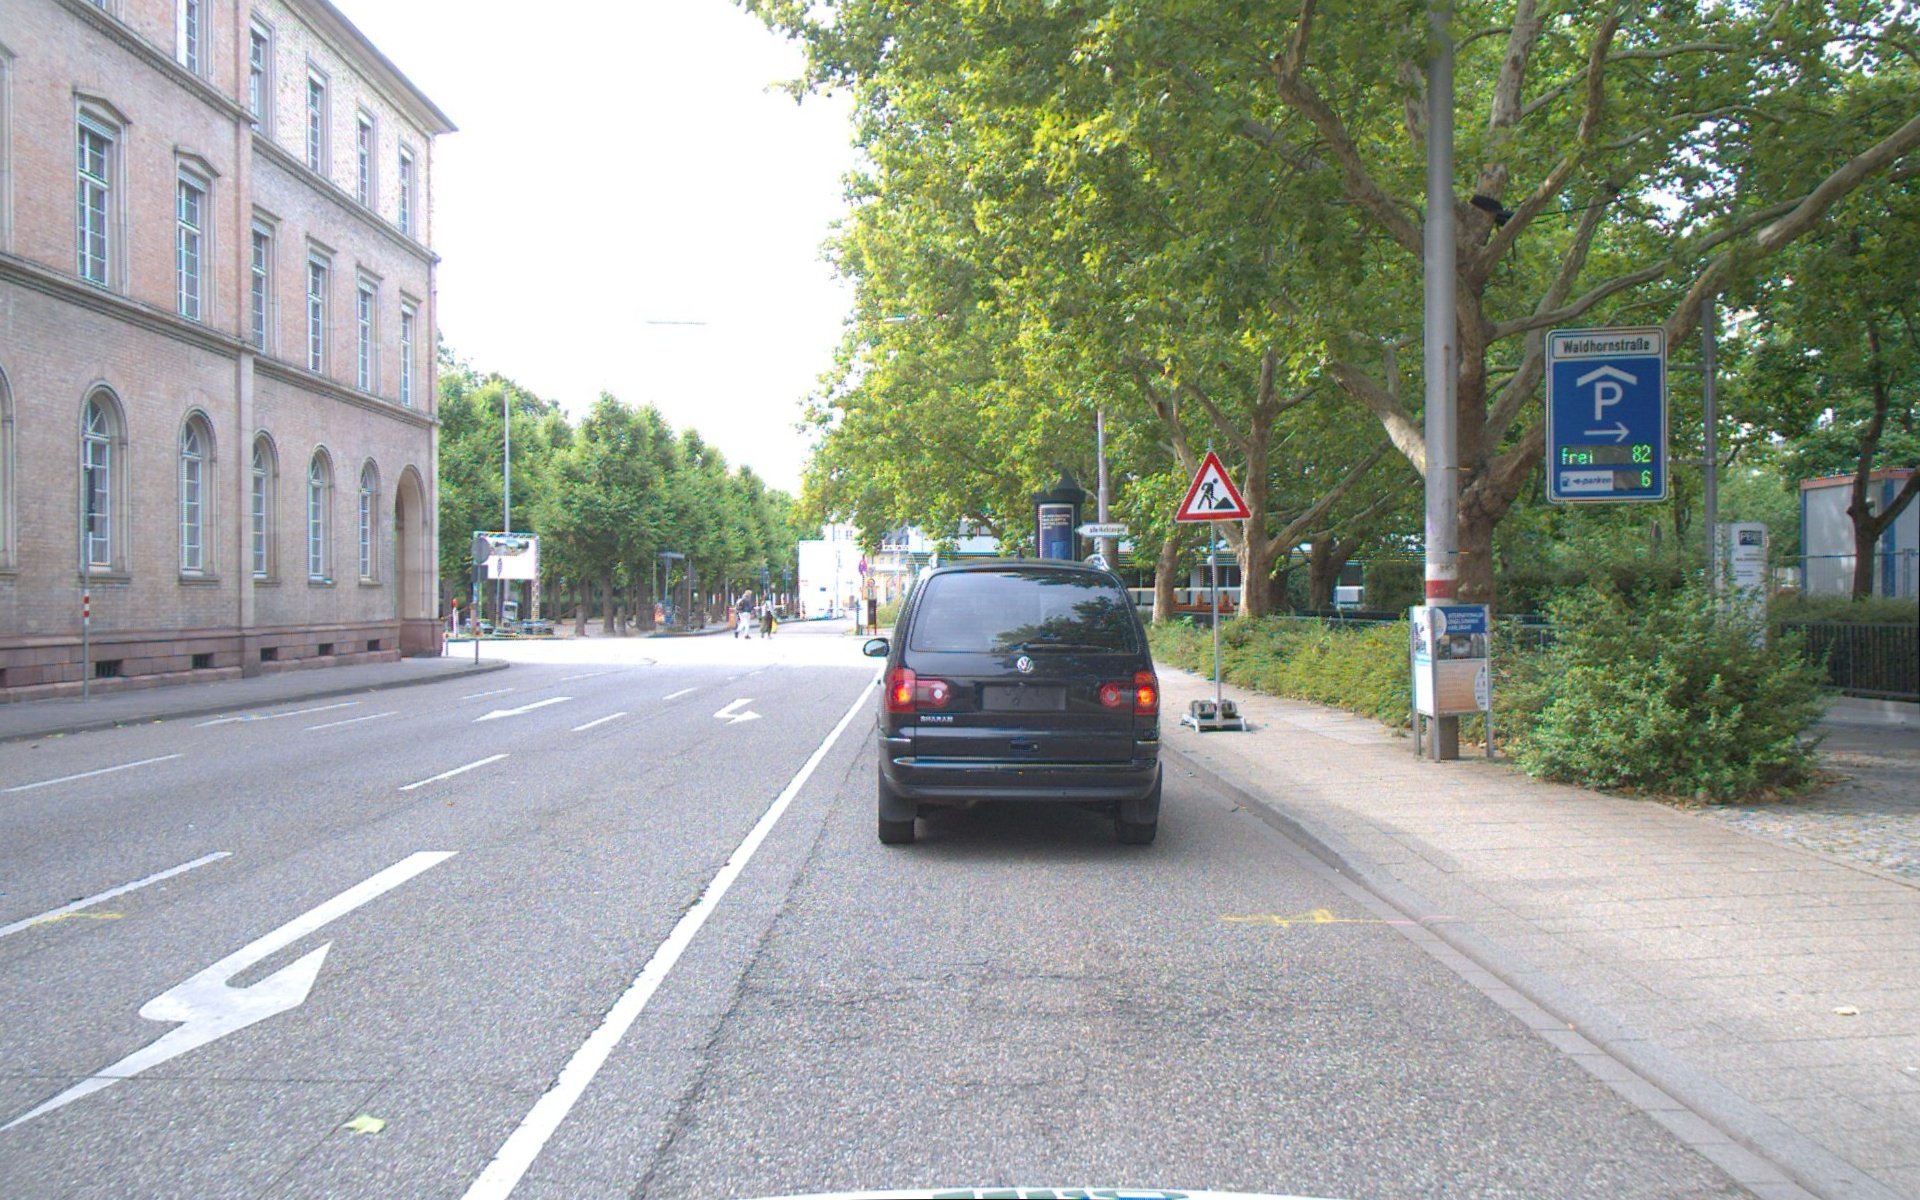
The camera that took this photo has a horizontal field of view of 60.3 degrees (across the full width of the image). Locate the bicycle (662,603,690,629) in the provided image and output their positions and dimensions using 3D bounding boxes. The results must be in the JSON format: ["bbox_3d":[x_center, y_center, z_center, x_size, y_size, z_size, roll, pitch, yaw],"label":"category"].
[{"bbox_3d":[-13.345,0.742,77.559,0.937,1.129,2.566,1,0,-18],"label":"bicycle"}]

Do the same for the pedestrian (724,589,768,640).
[{"bbox_3d":[-7.620,0.502,58.934,0.944,1.772,1.250,1,0,38],"label":"pedestrian"}]

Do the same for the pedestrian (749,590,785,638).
[{"bbox_3d":[-6.822,0.506,58.451,0.880,1.670,0.849,1,0,35],"label":"pedestrian"}]

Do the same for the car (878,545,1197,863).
[{"bbox_3d":[0.355,0.566,11.255,1.757,1.738,4.129,-1,0,-2],"label":"car"}]
